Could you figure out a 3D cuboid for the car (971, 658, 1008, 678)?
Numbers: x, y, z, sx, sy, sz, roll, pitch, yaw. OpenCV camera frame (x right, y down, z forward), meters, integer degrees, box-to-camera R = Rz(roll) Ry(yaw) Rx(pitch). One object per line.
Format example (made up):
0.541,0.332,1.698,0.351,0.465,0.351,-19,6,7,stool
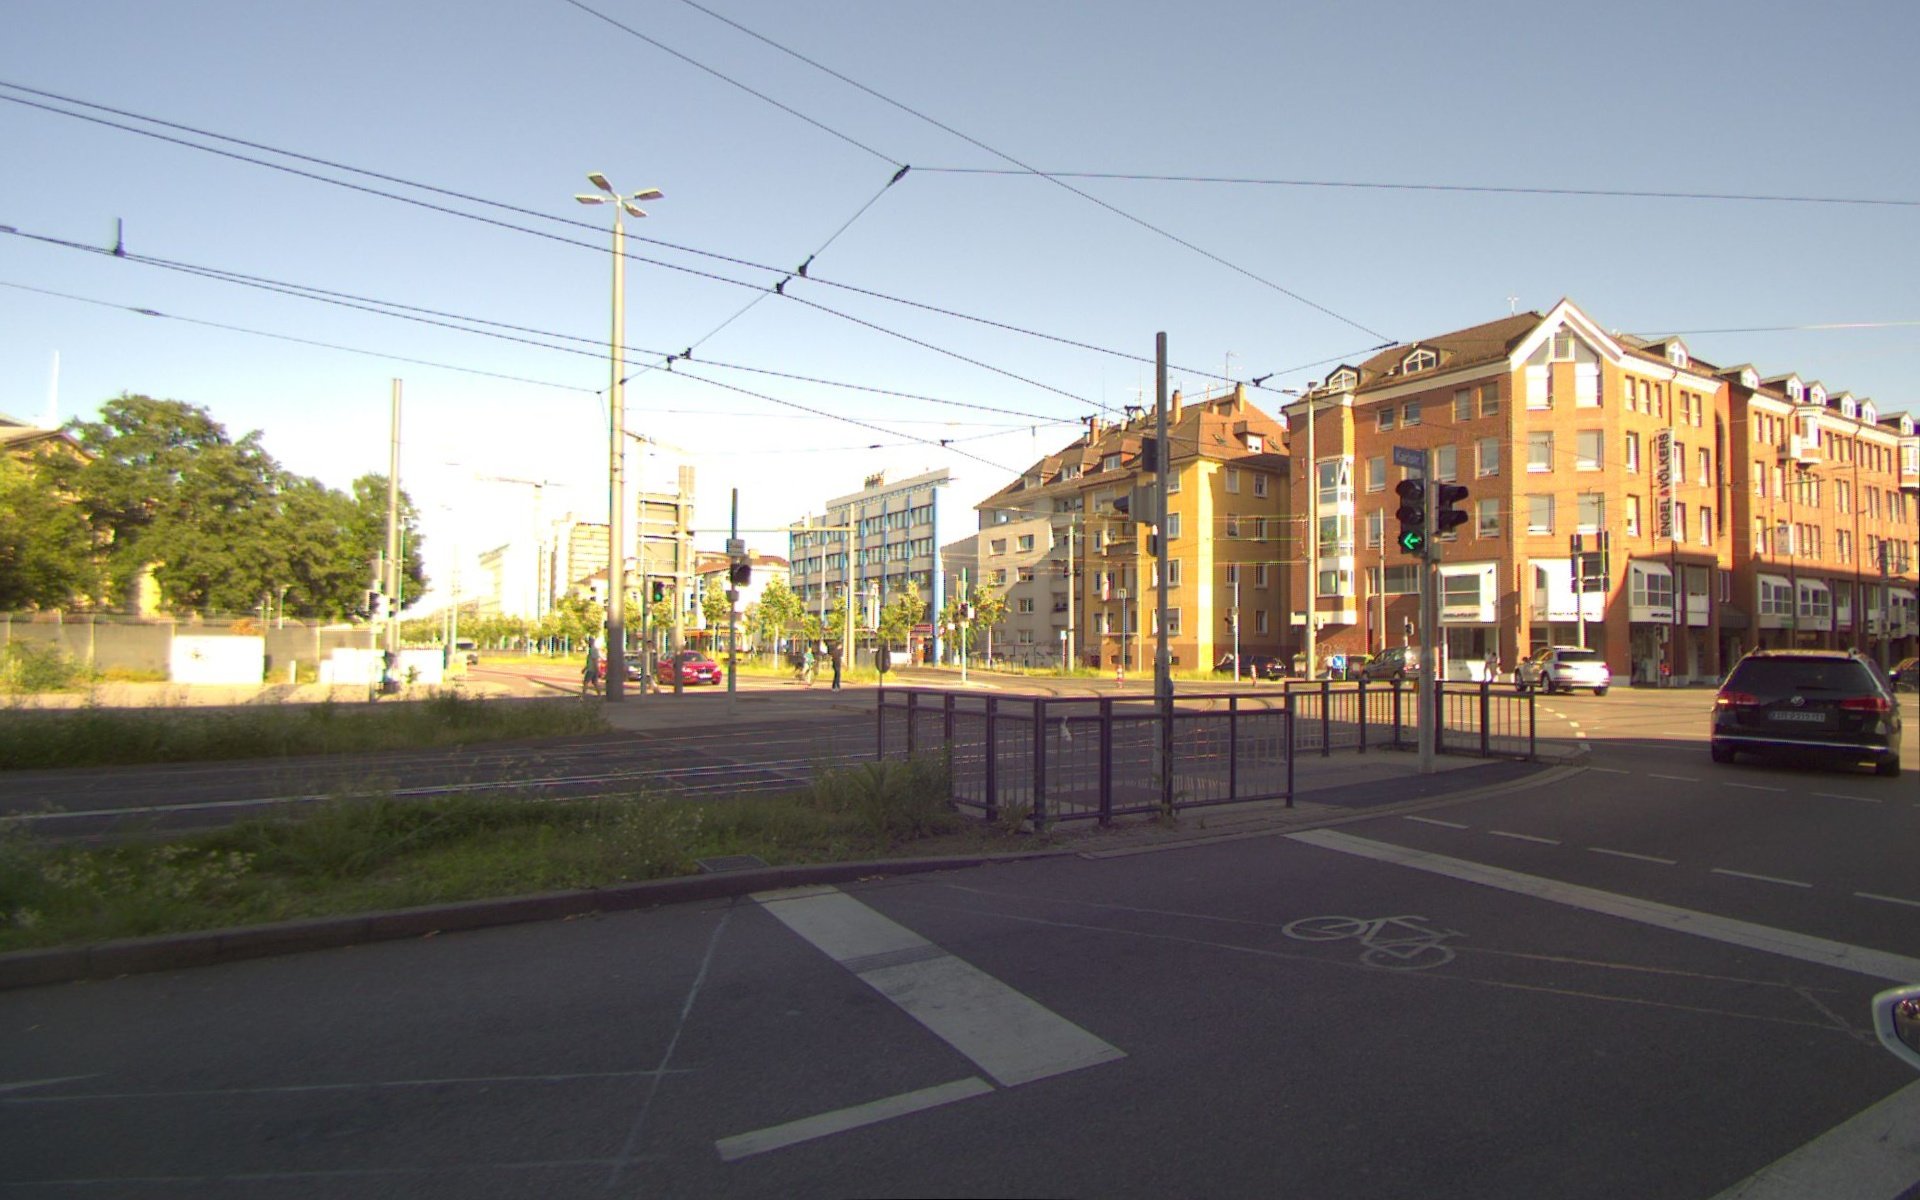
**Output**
2.553,5.816,86.439,1.548,1.639,3.287,3,-3,-34,car

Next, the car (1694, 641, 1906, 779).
10.976,1.292,13.003,1.747,1.463,4.501,-2,-3,44,car

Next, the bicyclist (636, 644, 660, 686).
-11.590,2.416,37.333,0.605,1.512,0.609,3,-3,-41,bicyclist

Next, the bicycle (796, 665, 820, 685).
-6.160,3.035,40.659,0.318,0.773,1.161,3,-3,-43,bicycle

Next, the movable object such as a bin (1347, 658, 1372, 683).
23.646,4.159,59.439,1.086,1.455,0.989,3,-3,-37,movable object such as a bin

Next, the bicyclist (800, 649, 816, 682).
-6.153,2.664,40.698,0.397,1.333,0.454,3,-3,-43,bicyclist

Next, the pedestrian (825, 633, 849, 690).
-4.287,2.138,34.956,0.783,1.959,0.724,1,-2,-7,pedestrian

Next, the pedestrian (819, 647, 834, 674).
-10.443,4.738,78.716,0.797,2.036,0.797,3,-3,-43,pedestrian

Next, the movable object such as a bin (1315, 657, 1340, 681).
22.477,4.210,61.399,1.086,1.455,0.989,3,-3,-37,movable object such as a bin

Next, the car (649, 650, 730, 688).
-11.568,2.920,42.702,1.766,1.529,4.518,3,-5,-37,car

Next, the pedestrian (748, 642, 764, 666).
-17.855,4.695,87.870,0.918,2.036,0.999,3,-3,-43,pedestrian

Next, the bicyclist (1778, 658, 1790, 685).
46.216,4.013,56.349,0.476,1.489,0.716,-1,-3,39,bicyclist

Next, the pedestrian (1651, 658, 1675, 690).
37.175,3.920,53.105,0.768,1.615,0.708,3,0,-30,pedestrian

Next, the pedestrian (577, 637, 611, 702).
-9.946,1.880,27.280,0.700,1.711,0.619,1,-1,-40,pedestrian

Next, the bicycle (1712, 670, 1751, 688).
43.993,4.504,57.270,0.515,0.912,1.702,3,-3,-31,bicycle

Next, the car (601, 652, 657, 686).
-15.890,3.273,48.161,1.559,1.491,3.677,3,-3,-34,car

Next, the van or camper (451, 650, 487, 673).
-47.300,5.916,96.725,1.966,2.027,4.303,3,-4,-42,van or camper

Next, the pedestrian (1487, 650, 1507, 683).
28.851,3.568,53.959,0.705,1.749,0.683,3,-3,-36,pedestrian

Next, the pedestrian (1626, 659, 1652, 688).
38.536,4.147,57.038,0.847,1.588,0.886,1,-2,-6,pedestrian

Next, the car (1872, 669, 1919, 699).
50.689,4.502,53.768,3.751,1.563,1.808,3,-5,-32,car

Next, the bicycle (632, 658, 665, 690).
-11.592,2.733,37.324,0.607,1.148,1.482,3,-3,-41,bicycle

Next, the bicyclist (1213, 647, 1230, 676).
16.321,3.831,62.726,0.610,1.795,0.820,3,-3,-41,bicyclist

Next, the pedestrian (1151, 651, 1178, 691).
8.895,3.081,43.635,0.920,1.733,0.691,3,-3,-34,pedestrian

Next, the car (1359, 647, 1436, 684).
20.226,3.000,46.559,1.548,1.639,3.780,2,-3,-7,car

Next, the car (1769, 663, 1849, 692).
45.445,4.141,53.755,3.926,1.472,1.812,2,-5,-27,car

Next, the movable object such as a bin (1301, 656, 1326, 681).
21.897,4.238,62.210,1.086,1.455,0.989,3,-3,-37,movable object such as a bin

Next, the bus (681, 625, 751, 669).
-21.575,4.128,88.433,2.921,3.610,9.343,3,-3,-33,bus

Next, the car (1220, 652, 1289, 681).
16.556,3.733,56.640,1.713,1.571,3.442,3,-3,-34,car

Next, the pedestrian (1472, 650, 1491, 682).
28.349,3.583,54.610,0.705,1.749,0.683,3,-3,-36,pedestrian

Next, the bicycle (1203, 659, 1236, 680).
16.207,4.332,62.807,0.624,1.239,2.017,3,-3,-41,bicycle

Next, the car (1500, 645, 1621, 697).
20.818,2.433,34.989,1.812,1.656,3.480,2,-3,-10,car

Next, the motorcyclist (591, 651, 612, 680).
-18.886,3.446,52.894,0.774,1.544,0.915,3,-3,-34,motorcyclist
